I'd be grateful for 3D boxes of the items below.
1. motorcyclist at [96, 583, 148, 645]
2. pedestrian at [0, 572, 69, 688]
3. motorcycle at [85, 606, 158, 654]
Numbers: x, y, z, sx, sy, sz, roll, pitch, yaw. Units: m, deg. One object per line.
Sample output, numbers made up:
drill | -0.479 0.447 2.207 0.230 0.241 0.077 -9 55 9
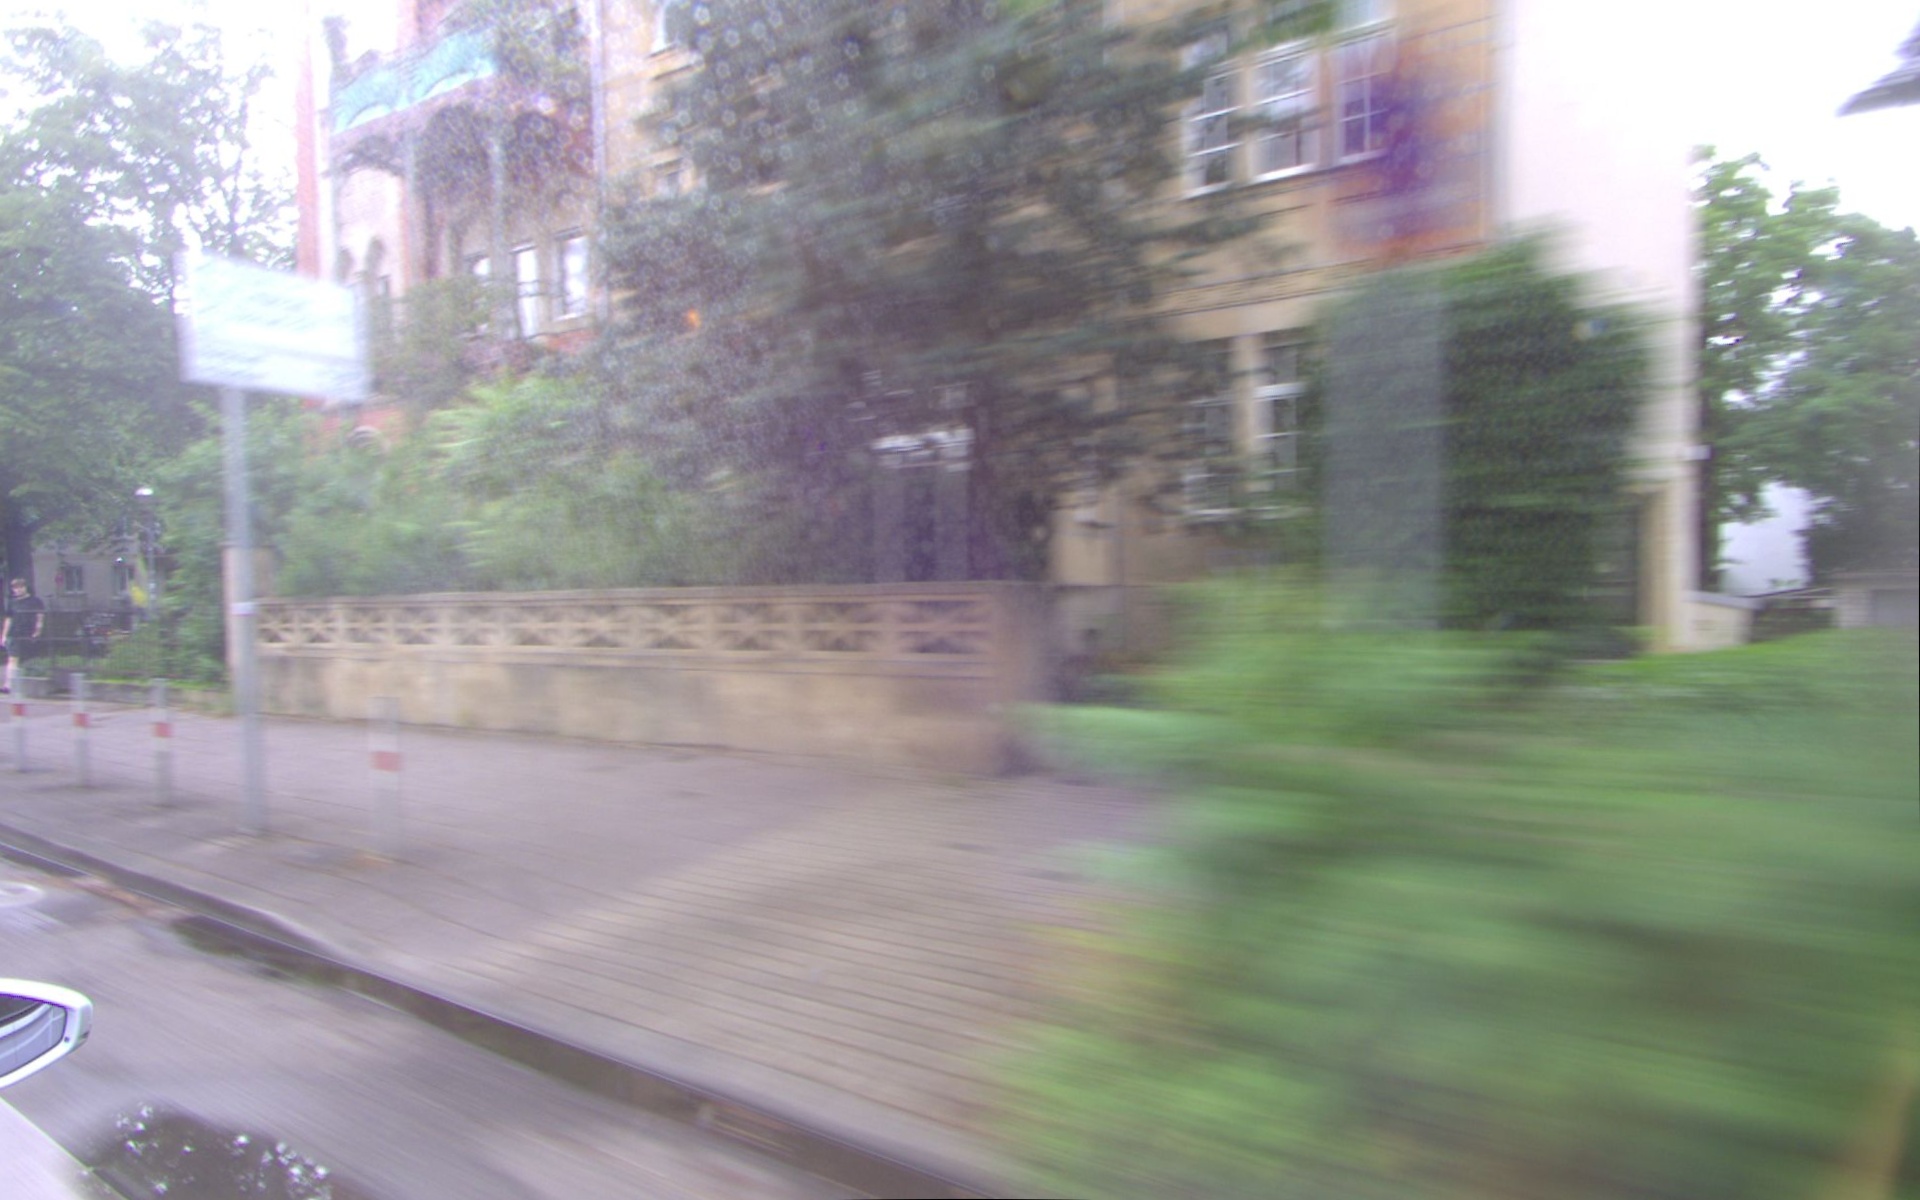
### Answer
motorcyclist | -23.279 0.379 27.831 0.691 1.715 0.804 -1 2 -1
pedestrian | -15.323 0.484 16.421 0.785 1.856 0.651 -1 2 -12
motorcycle | -23.265 0.804 27.823 0.439 1.252 1.906 -1 1 -2
